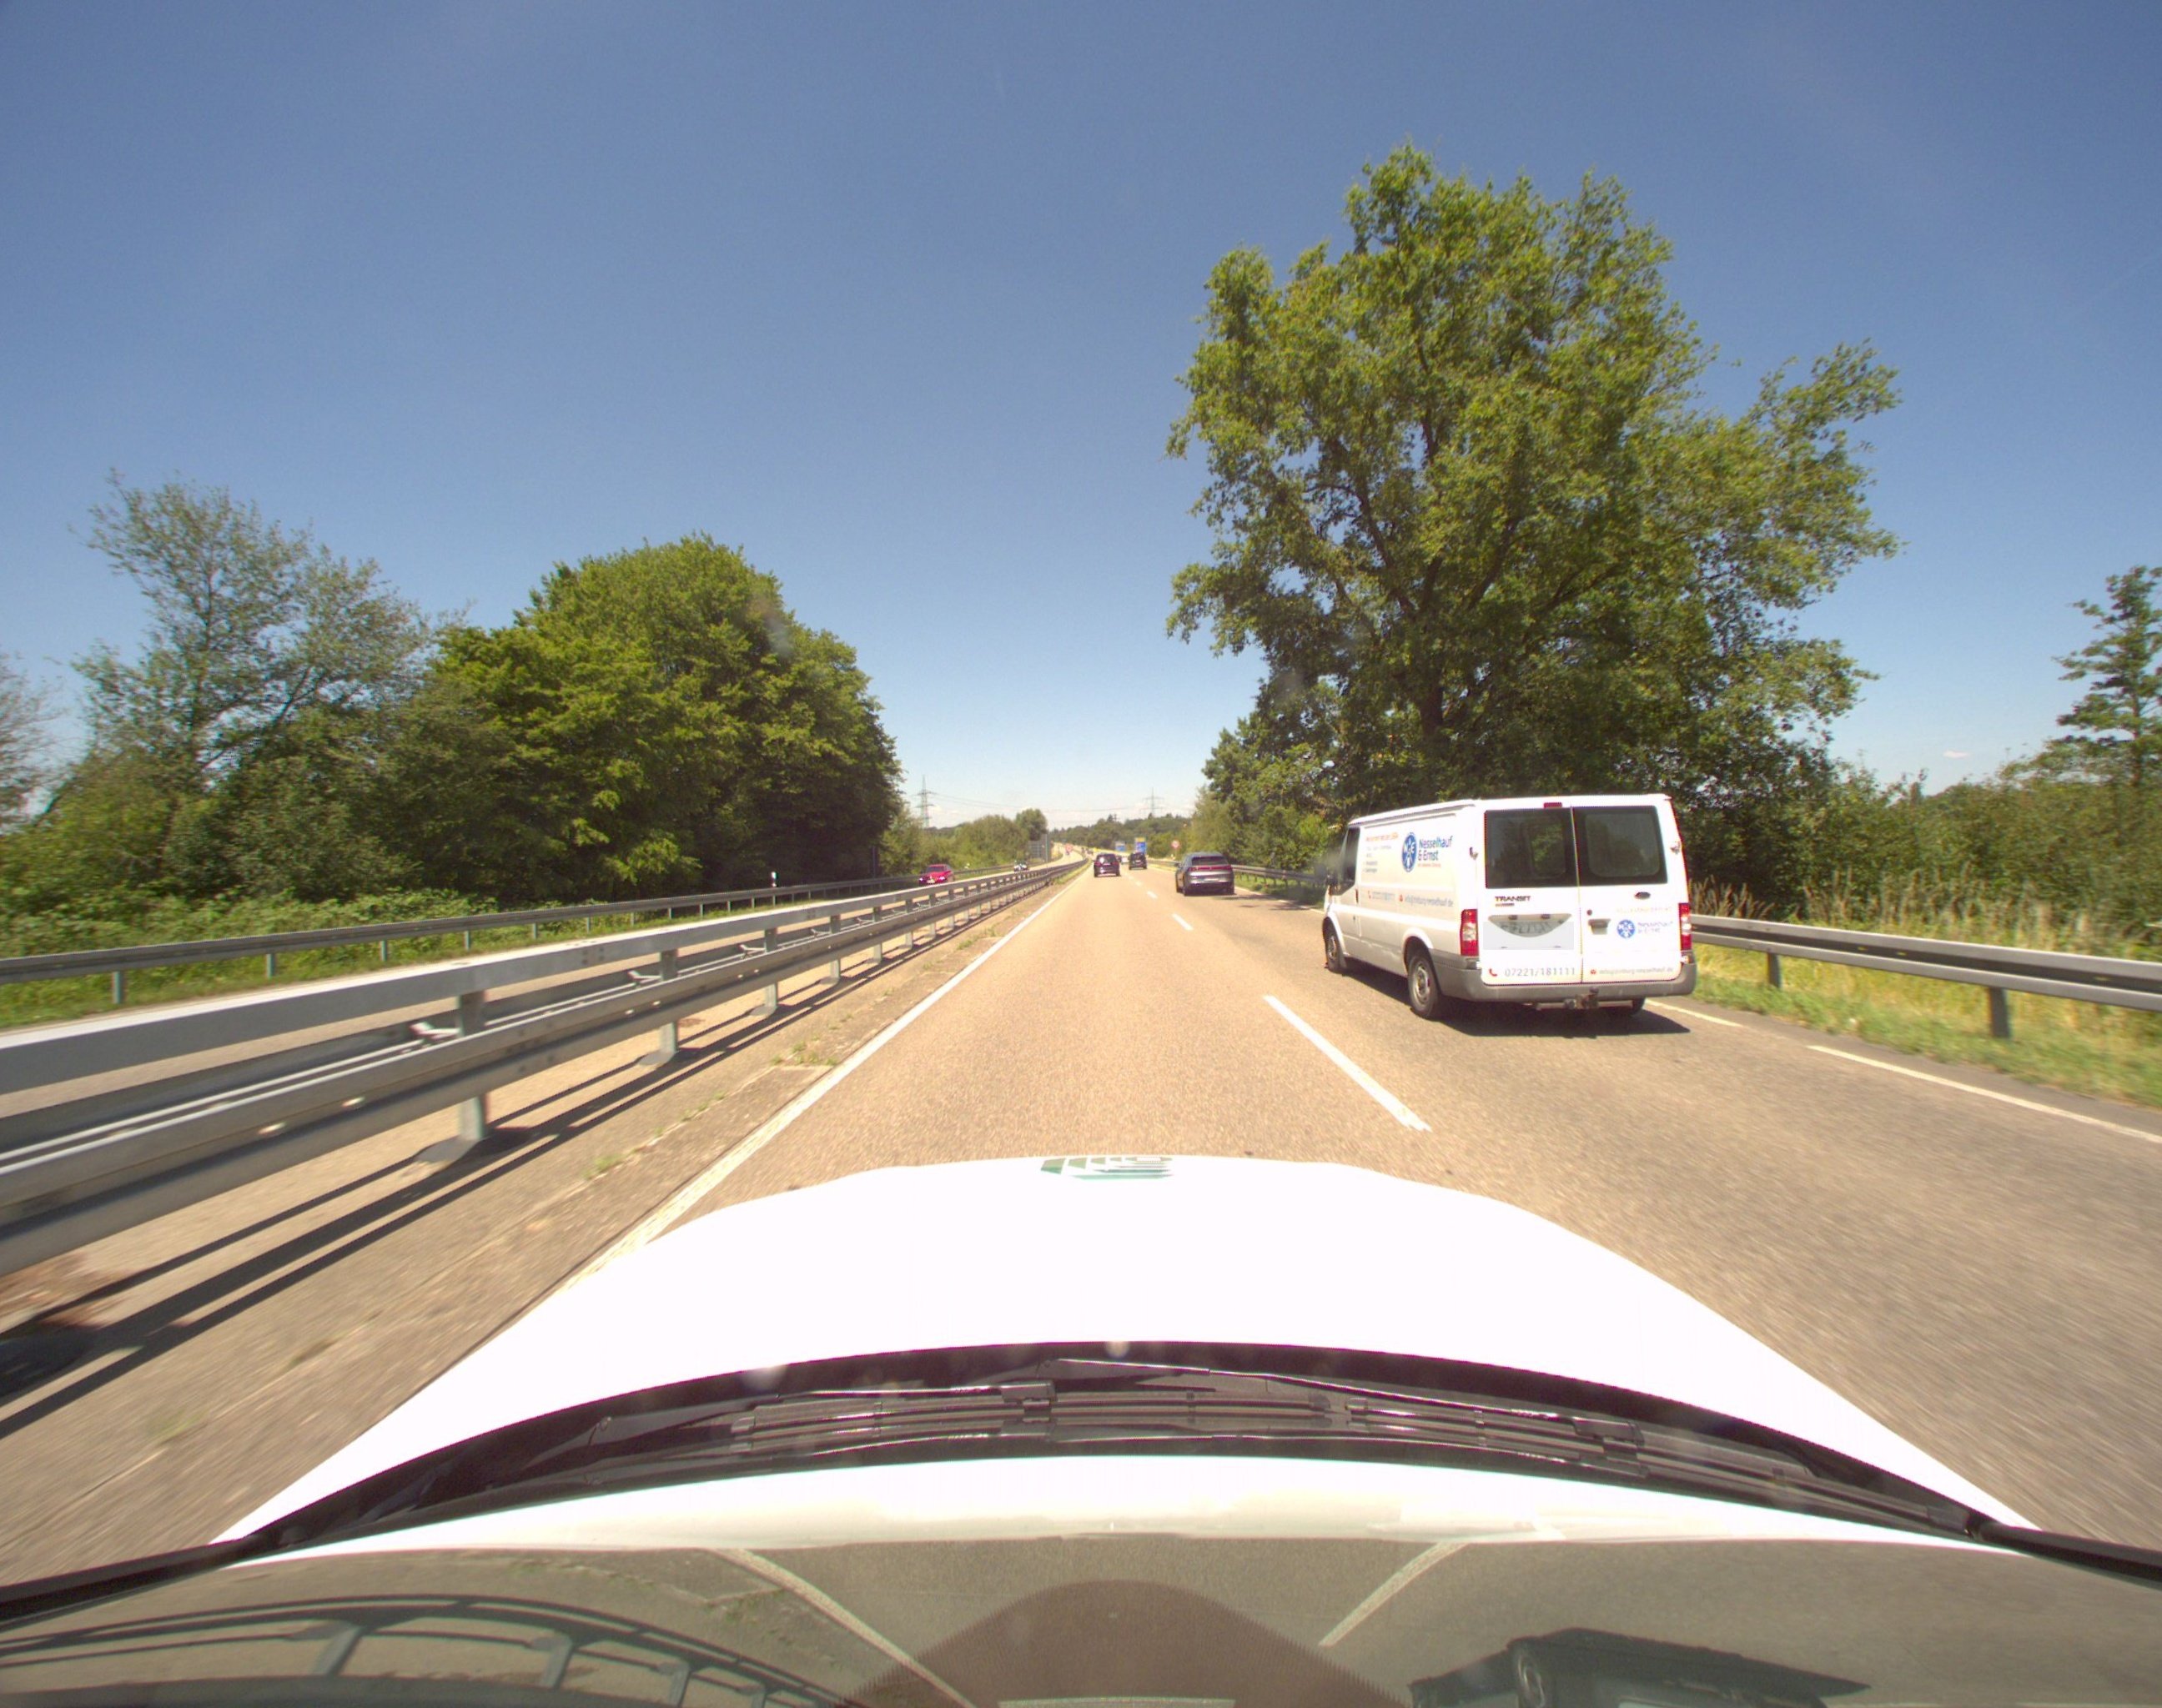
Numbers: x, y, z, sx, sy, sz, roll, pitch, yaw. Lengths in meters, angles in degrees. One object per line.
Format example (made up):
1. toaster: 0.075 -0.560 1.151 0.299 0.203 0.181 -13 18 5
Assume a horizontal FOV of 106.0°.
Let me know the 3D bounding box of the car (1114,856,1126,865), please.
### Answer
1. car: 6.898 1.100 143.771 1.813 1.414 4.001 -3 0 1

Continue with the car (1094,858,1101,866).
1. car: 3.593 1.720 176.452 1.510 1.475 3.066 0 0 0

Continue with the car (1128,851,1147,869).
1. car: 5.842 0.613 85.005 1.773 1.816 4.214 -2 0 1

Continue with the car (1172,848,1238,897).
1. car: 4.493 0.623 30.048 1.779 1.553 4.019 -3 1 0

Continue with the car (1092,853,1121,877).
1. car: 1.845 0.787 60.813 1.987 1.654 3.999 -1 0 0

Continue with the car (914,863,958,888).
1. car: -8.987 1.302 50.814 1.769 1.419 4.576 -2 0 1

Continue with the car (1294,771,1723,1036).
1. car: 4.022 0.410 8.925 1.999 1.989 5.034 -3 -1 0

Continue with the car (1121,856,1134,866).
1. car: 7.408 1.147 130.973 1.773 1.479 4.314 1 0 0

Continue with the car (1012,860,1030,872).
1. car: -7.526 1.456 102.066 1.790 1.468 3.775 0 0 2
